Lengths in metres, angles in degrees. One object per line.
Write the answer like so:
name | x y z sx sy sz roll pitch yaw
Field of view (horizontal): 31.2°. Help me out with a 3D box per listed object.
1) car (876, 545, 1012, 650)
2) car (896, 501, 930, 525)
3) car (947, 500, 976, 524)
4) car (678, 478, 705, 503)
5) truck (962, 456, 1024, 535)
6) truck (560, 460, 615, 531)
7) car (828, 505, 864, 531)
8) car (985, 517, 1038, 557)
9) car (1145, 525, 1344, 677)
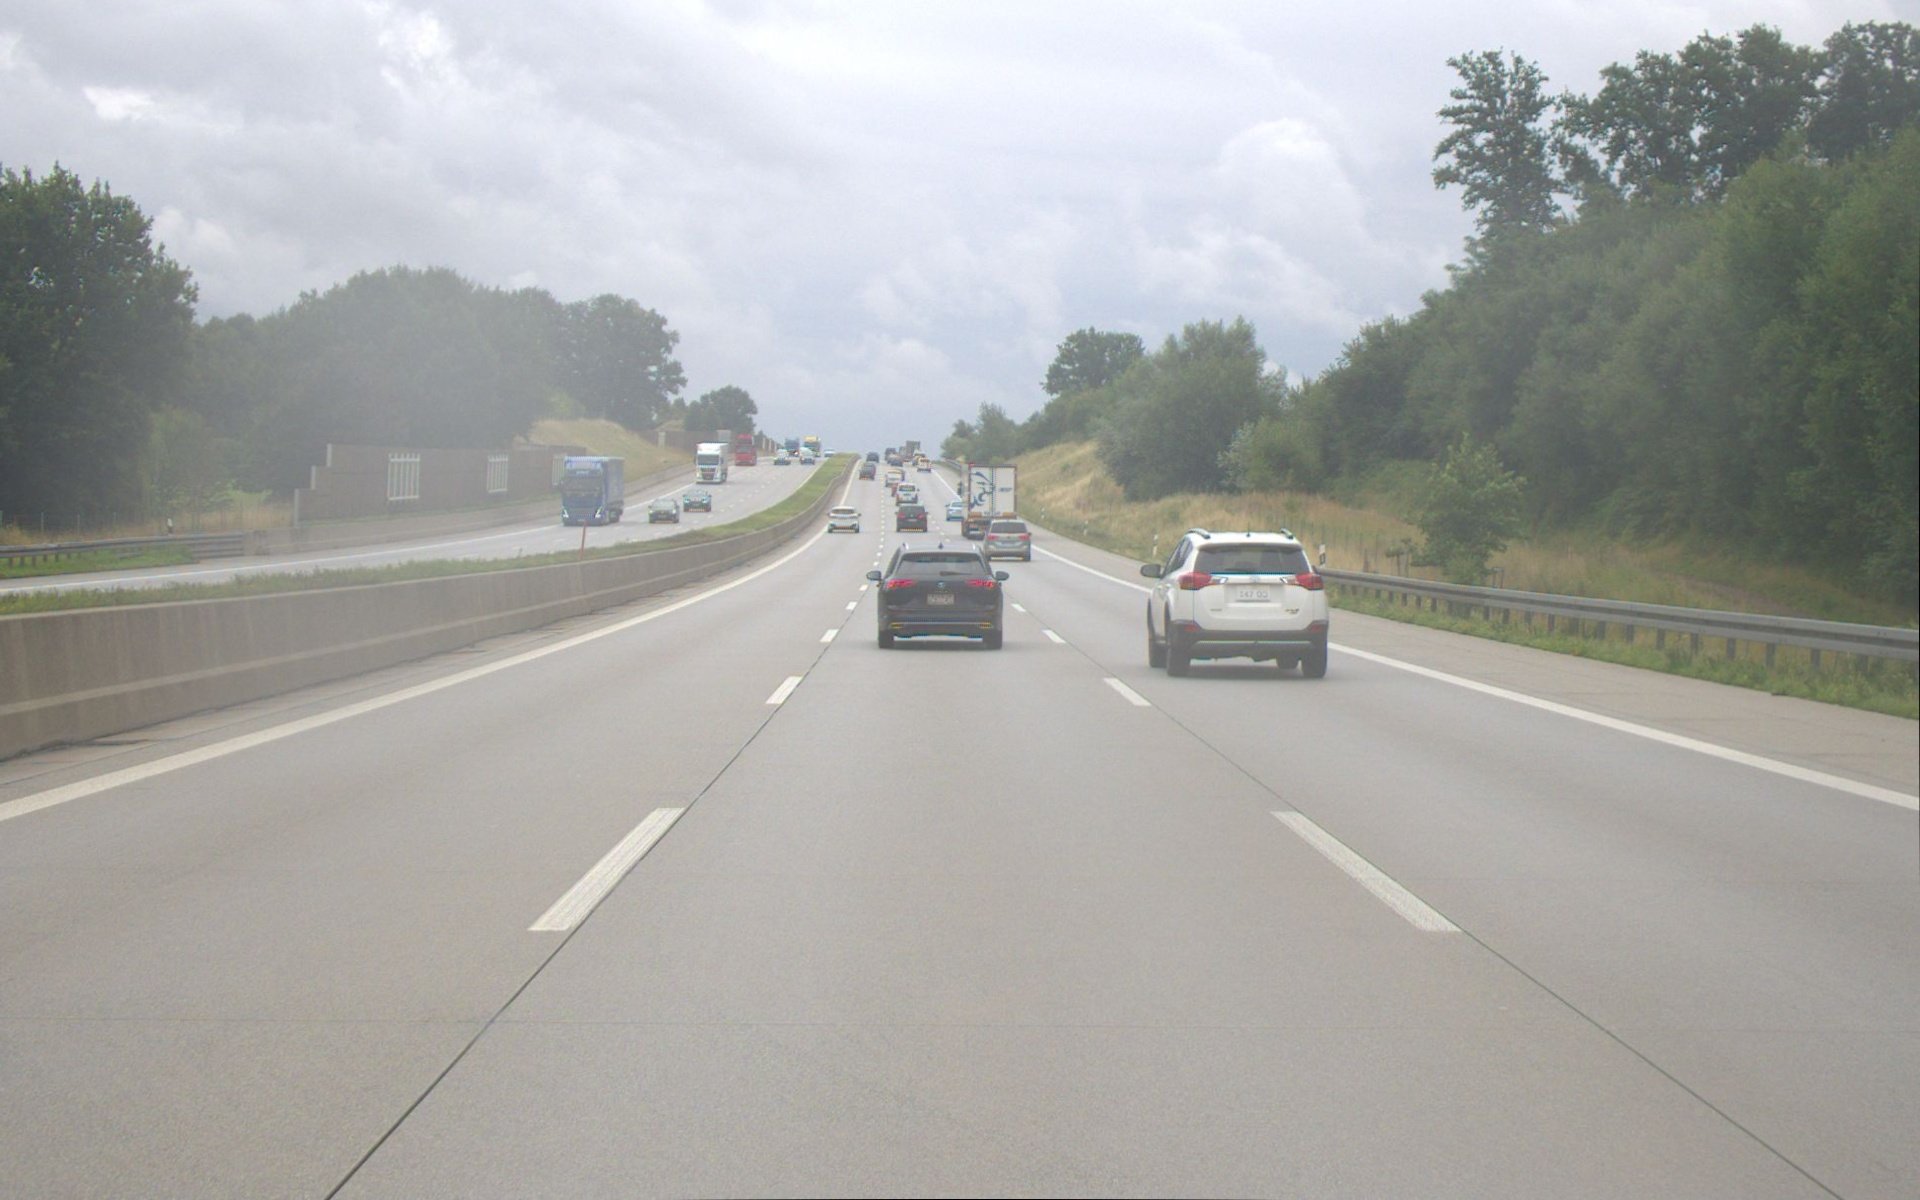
car | -0.265 -0.037 48.565 1.752 1.393 4.484 1 0 -2
car | -2.814 -5.208 206.510 1.935 1.370 4.595 1 1 0
car | 0.092 -6.276 243.689 1.993 1.634 4.000 1 2 1
car | -19.761 -8.073 253.150 1.816 1.761 4.733 1 1 -2
truck | 1.750 -5.661 185.737 3.017 4.166 8.355 1 2 -1
truck | -22.443 -6.261 207.324 2.691 4.174 6.211 1 1 -1
car | -6.688 -4.804 202.088 1.947 1.351 4.259 0 -1 0
car | 2.005 -2.466 134.586 1.993 1.525 4.000 1 1 0
car | 3.245 -0.022 39.906 1.825 1.650 3.985 1 1 -2
